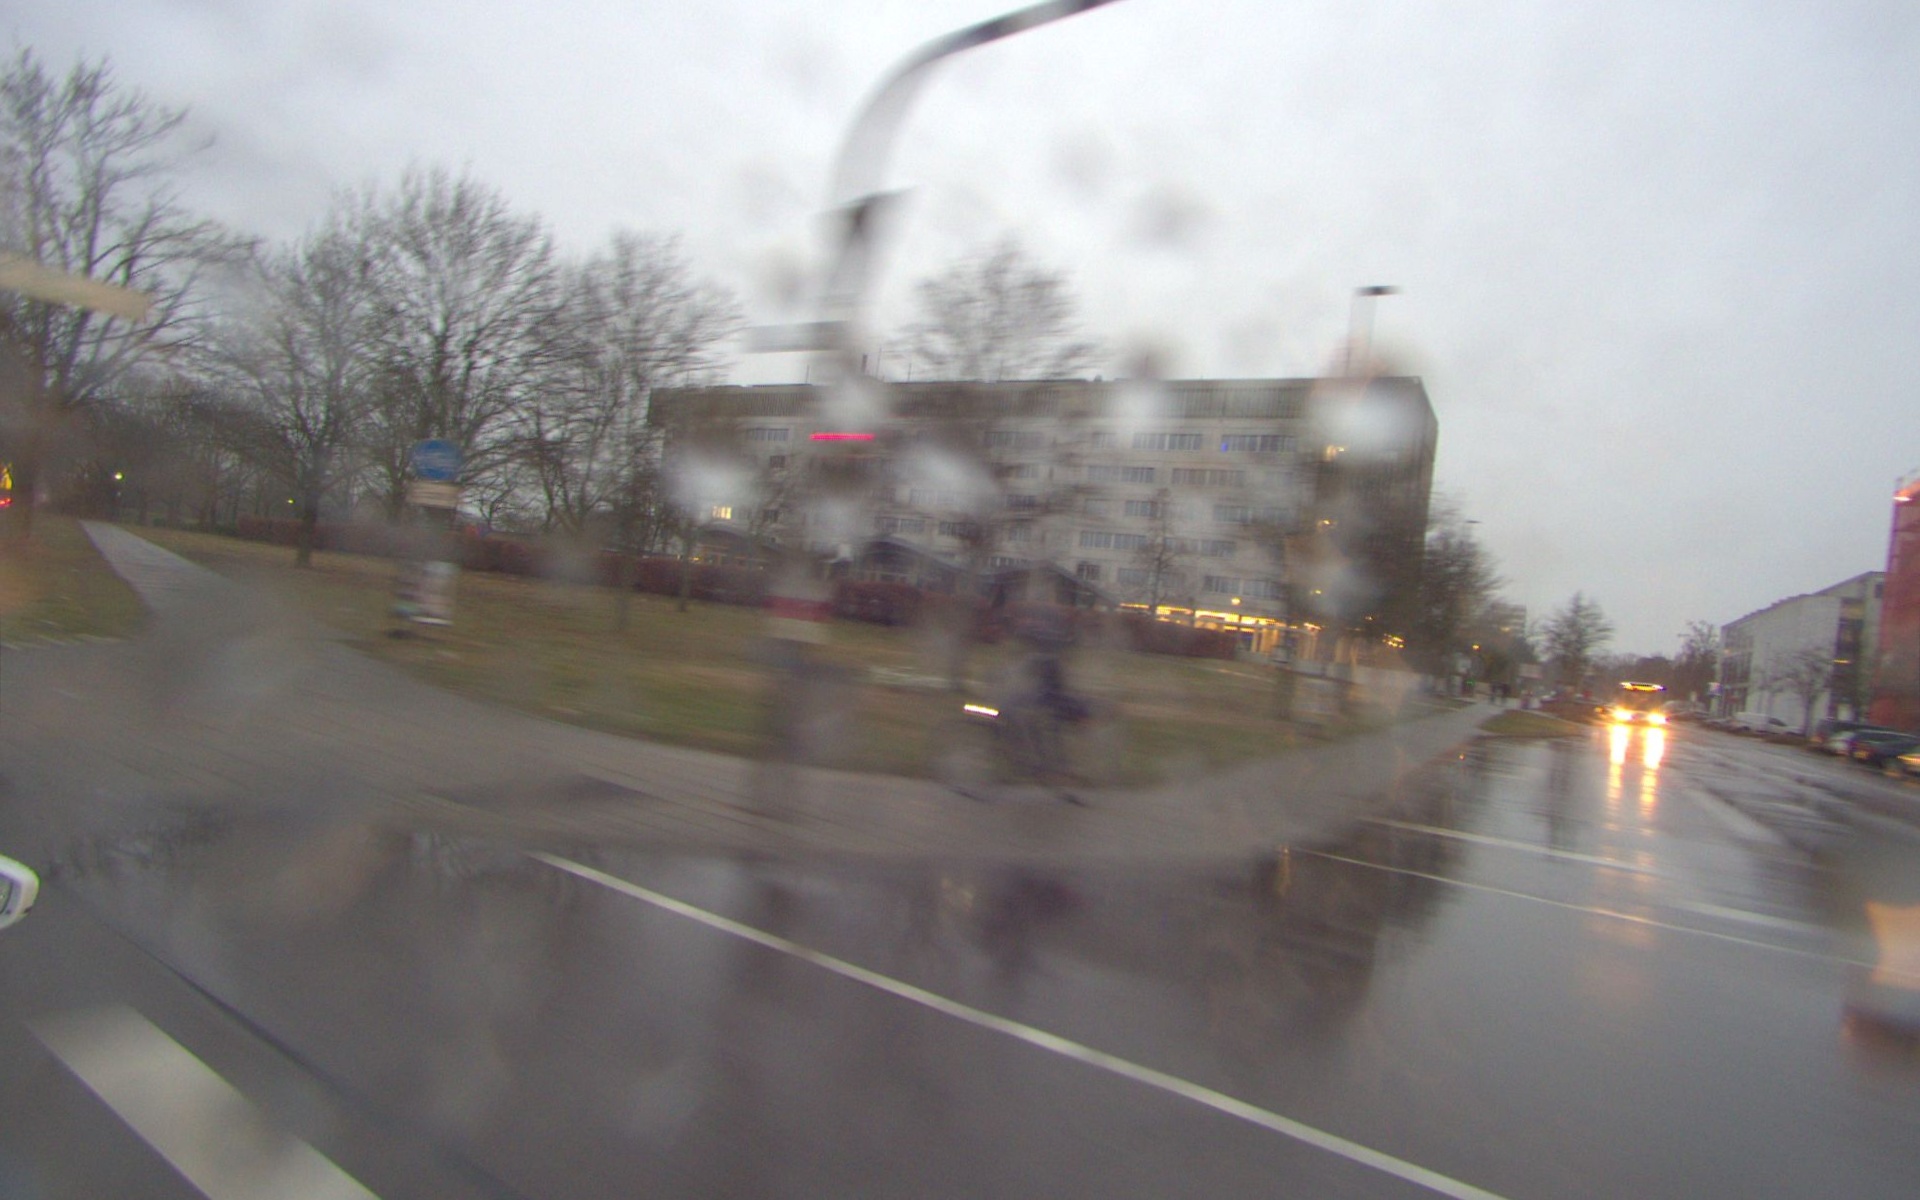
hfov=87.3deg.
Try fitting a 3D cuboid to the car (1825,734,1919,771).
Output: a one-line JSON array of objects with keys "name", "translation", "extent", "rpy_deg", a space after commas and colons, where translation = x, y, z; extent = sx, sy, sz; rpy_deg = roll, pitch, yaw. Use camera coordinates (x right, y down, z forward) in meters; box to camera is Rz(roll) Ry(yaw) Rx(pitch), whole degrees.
[{"name": "car", "translation": [47.321, 7.870, 52.108], "extent": [3.439, 1.328, 1.704], "rpy_deg": [5, -3, 32]}]

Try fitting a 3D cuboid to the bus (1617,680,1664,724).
[{"name": "bus", "translation": [50.753, 7.689, 75.146], "extent": [2.259, 2.742, 8.140], "rpy_deg": [5, -3, 31]}]

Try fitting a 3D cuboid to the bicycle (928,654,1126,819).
[{"name": "bicycle", "translation": [0.692, 1.216, 9.462], "extent": [1.022, 1.231, 1.967], "rpy_deg": [8, 0, 27]}]

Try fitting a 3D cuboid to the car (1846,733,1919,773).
[{"name": "car", "translation": [42.803, 6.996, 45.247], "extent": [4.066, 1.437, 1.771], "rpy_deg": [5, -3, 32]}]

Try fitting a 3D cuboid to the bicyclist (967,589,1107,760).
[{"name": "bicyclist", "translation": [0.724, 0.696, 9.427], "extent": [0.912, 1.446, 0.752], "rpy_deg": [5, -2, 33]}]

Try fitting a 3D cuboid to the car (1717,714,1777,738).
[{"name": "car", "translation": [67.580, 10.814, 86.437], "extent": [3.804, 1.470, 1.669], "rpy_deg": [5, -3, 33]}]

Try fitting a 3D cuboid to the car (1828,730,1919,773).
[{"name": "car", "translation": [44.809, 7.352, 48.084], "extent": [4.736, 1.573, 1.770], "rpy_deg": [5, -3, 34]}]

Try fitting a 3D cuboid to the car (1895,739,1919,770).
[{"name": "car", "translation": [39.711, 6.366, 40.774], "extent": [1.513, 1.197, 3.723], "rpy_deg": [6, -3, 26]}]

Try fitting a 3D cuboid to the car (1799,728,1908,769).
[{"name": "car", "translation": [48.148, 7.993, 54.300], "extent": [4.056, 1.546, 1.605], "rpy_deg": [5, -3, 31]}]

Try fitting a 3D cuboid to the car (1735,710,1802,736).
[{"name": "car", "translation": [62.658, 9.561, 78.051], "extent": [3.804, 1.470, 1.669], "rpy_deg": [5, -3, 33]}]

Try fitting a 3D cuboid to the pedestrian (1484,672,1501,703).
[{"name": "pedestrian", "translation": [37.833, 6.209, 71.433], "extent": [0.790, 2.036, 0.639], "rpy_deg": [5, -2, 37]}]

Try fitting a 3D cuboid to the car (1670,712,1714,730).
[{"name": "car", "translation": [85.650, 14.138, 117.754], "extent": [3.934, 1.606, 1.998], "rpy_deg": [5, -3, 31]}]

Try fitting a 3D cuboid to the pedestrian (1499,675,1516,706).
[{"name": "pedestrian", "translation": [38.320, 6.328, 70.427], "extent": [0.802, 2.036, 0.750], "rpy_deg": [6, -2, 32]}]
